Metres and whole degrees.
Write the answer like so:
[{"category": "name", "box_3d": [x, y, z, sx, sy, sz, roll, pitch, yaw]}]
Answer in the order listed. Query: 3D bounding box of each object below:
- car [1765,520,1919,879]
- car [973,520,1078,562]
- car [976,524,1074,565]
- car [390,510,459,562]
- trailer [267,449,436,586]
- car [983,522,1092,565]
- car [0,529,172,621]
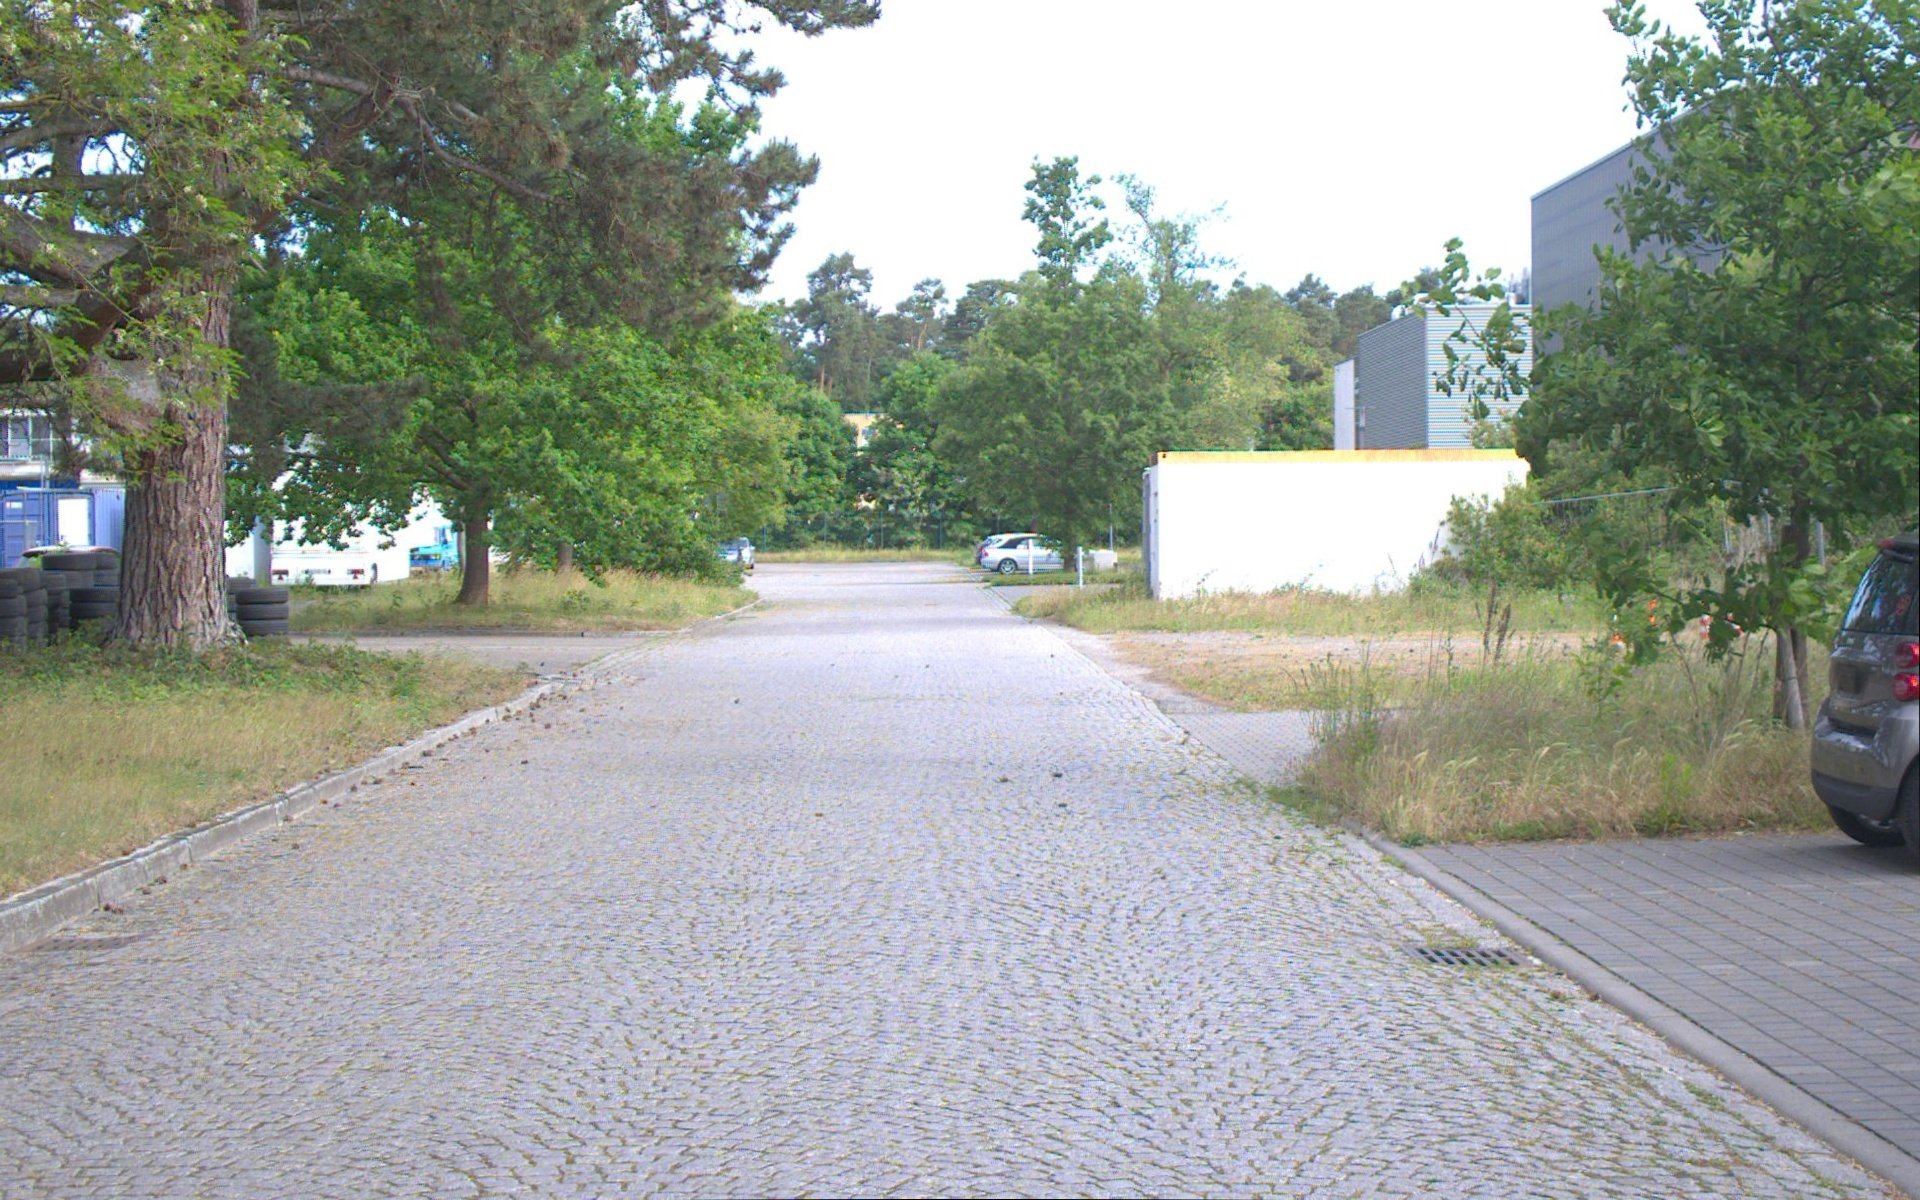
[{"category": "car", "box_3d": [5.325, 0.378, 16.002, 2.710, 1.551, 1.654, -3, 1, 0]}, {"category": "car", "box_3d": [2.542, -2.299, 133.625, 3.984, 1.470, 1.653, -3, 1, 0]}, {"category": "car", "box_3d": [2.370, -2.050, 125.800, 3.522, 1.357, 1.622, -2, 1, 0]}, {"category": "car", "box_3d": [-21.012, -2.534, 135.138, 1.993, 2.007, 4.768, 0, 1, 0]}, {"category": "trailer", "box_3d": [-16.748, -2.277, 95.335, 2.625, 3.585, 10.177, 0, 1, 1]}, {"category": "car", "box_3d": [2.869, -2.120, 128.497, 3.984, 1.443, 1.653, -2, 1, 0]}, {"category": "car", "box_3d": [-14.579, -0.448, 57.381, 1.626, 1.428, 4.063, 0, 2, 5]}]
